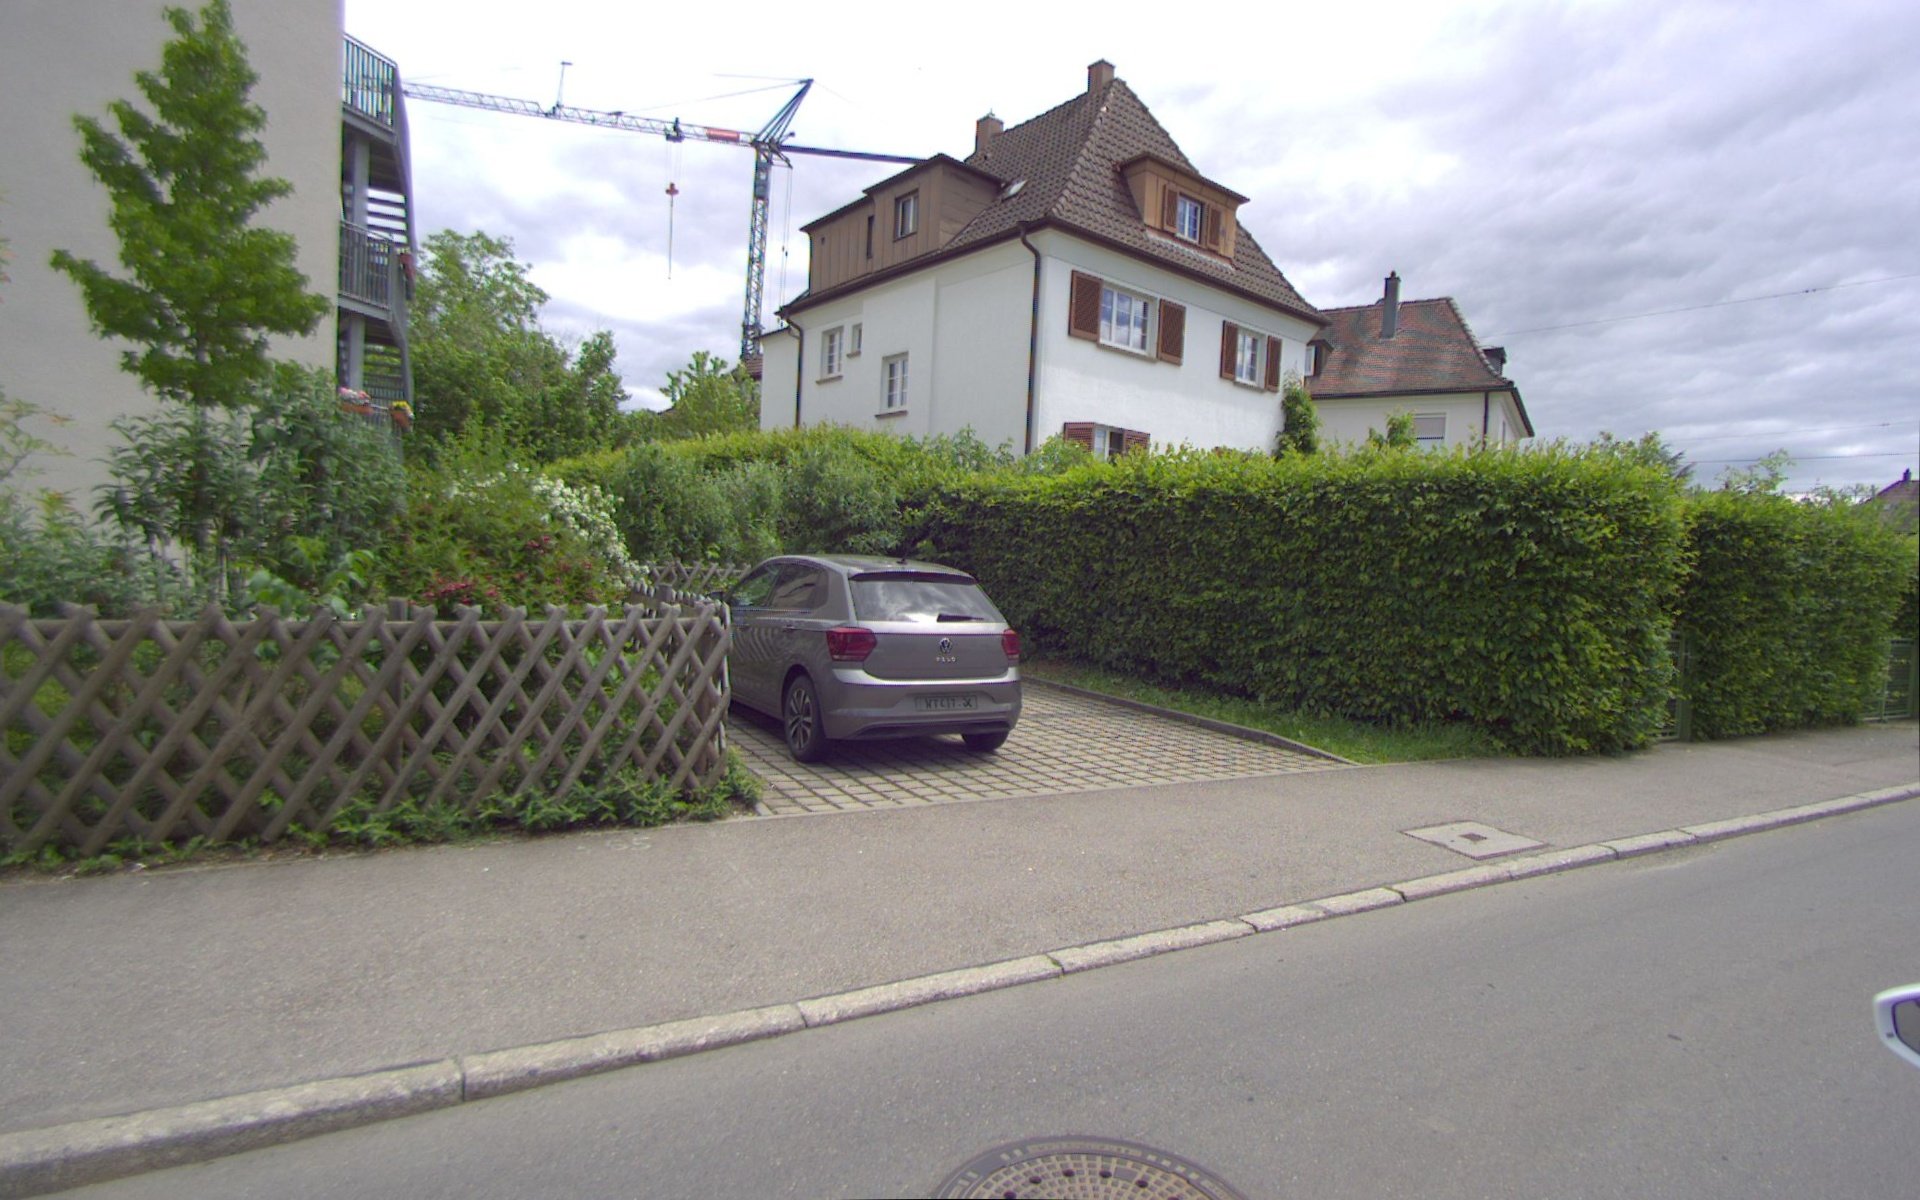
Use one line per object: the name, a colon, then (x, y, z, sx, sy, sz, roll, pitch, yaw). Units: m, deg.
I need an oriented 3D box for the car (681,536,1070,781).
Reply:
car: (-0.929, 0.313, 8.370, 1.796, 1.453, 3.653, 3, 3, -30)
